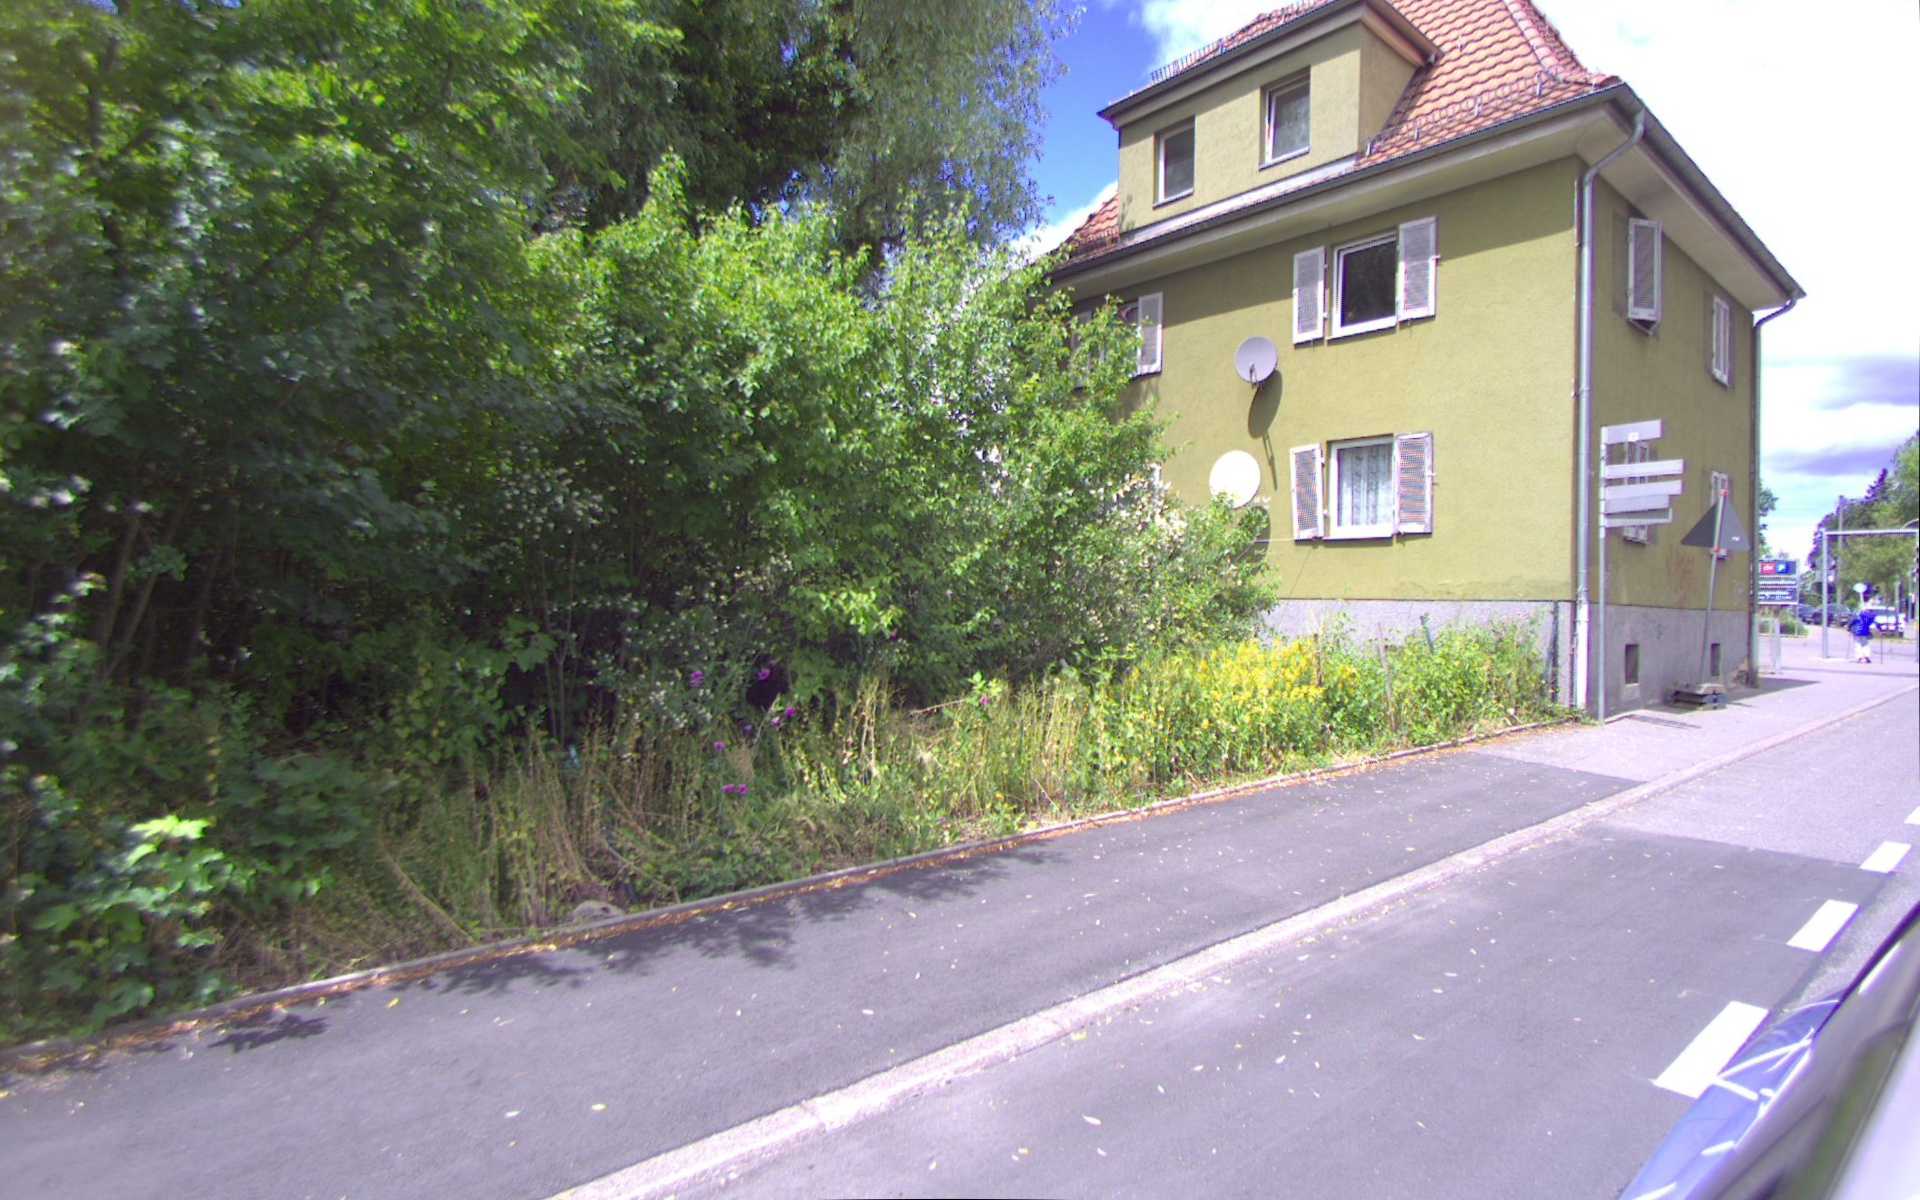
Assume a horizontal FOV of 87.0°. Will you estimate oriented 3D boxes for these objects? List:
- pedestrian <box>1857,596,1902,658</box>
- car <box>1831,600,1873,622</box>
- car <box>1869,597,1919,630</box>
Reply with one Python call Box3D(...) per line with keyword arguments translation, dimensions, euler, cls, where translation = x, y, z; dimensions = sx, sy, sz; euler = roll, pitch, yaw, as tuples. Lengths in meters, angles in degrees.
Box3D(translation=(24.436, 0.696, 26.902), dimensions=(0.824, 1.592, 0.972), euler=(2, 1, 45), cls="pedestrian")
Box3D(translation=(64.764, 0.778, 73.522), dimensions=(1.694, 1.551, 3.951), euler=(-1, -1, 34), cls="car")
Box3D(translation=(47.361, 0.647, 51.253), dimensions=(1.788, 1.549, 3.864), euler=(4, 2, 40), cls="car")
